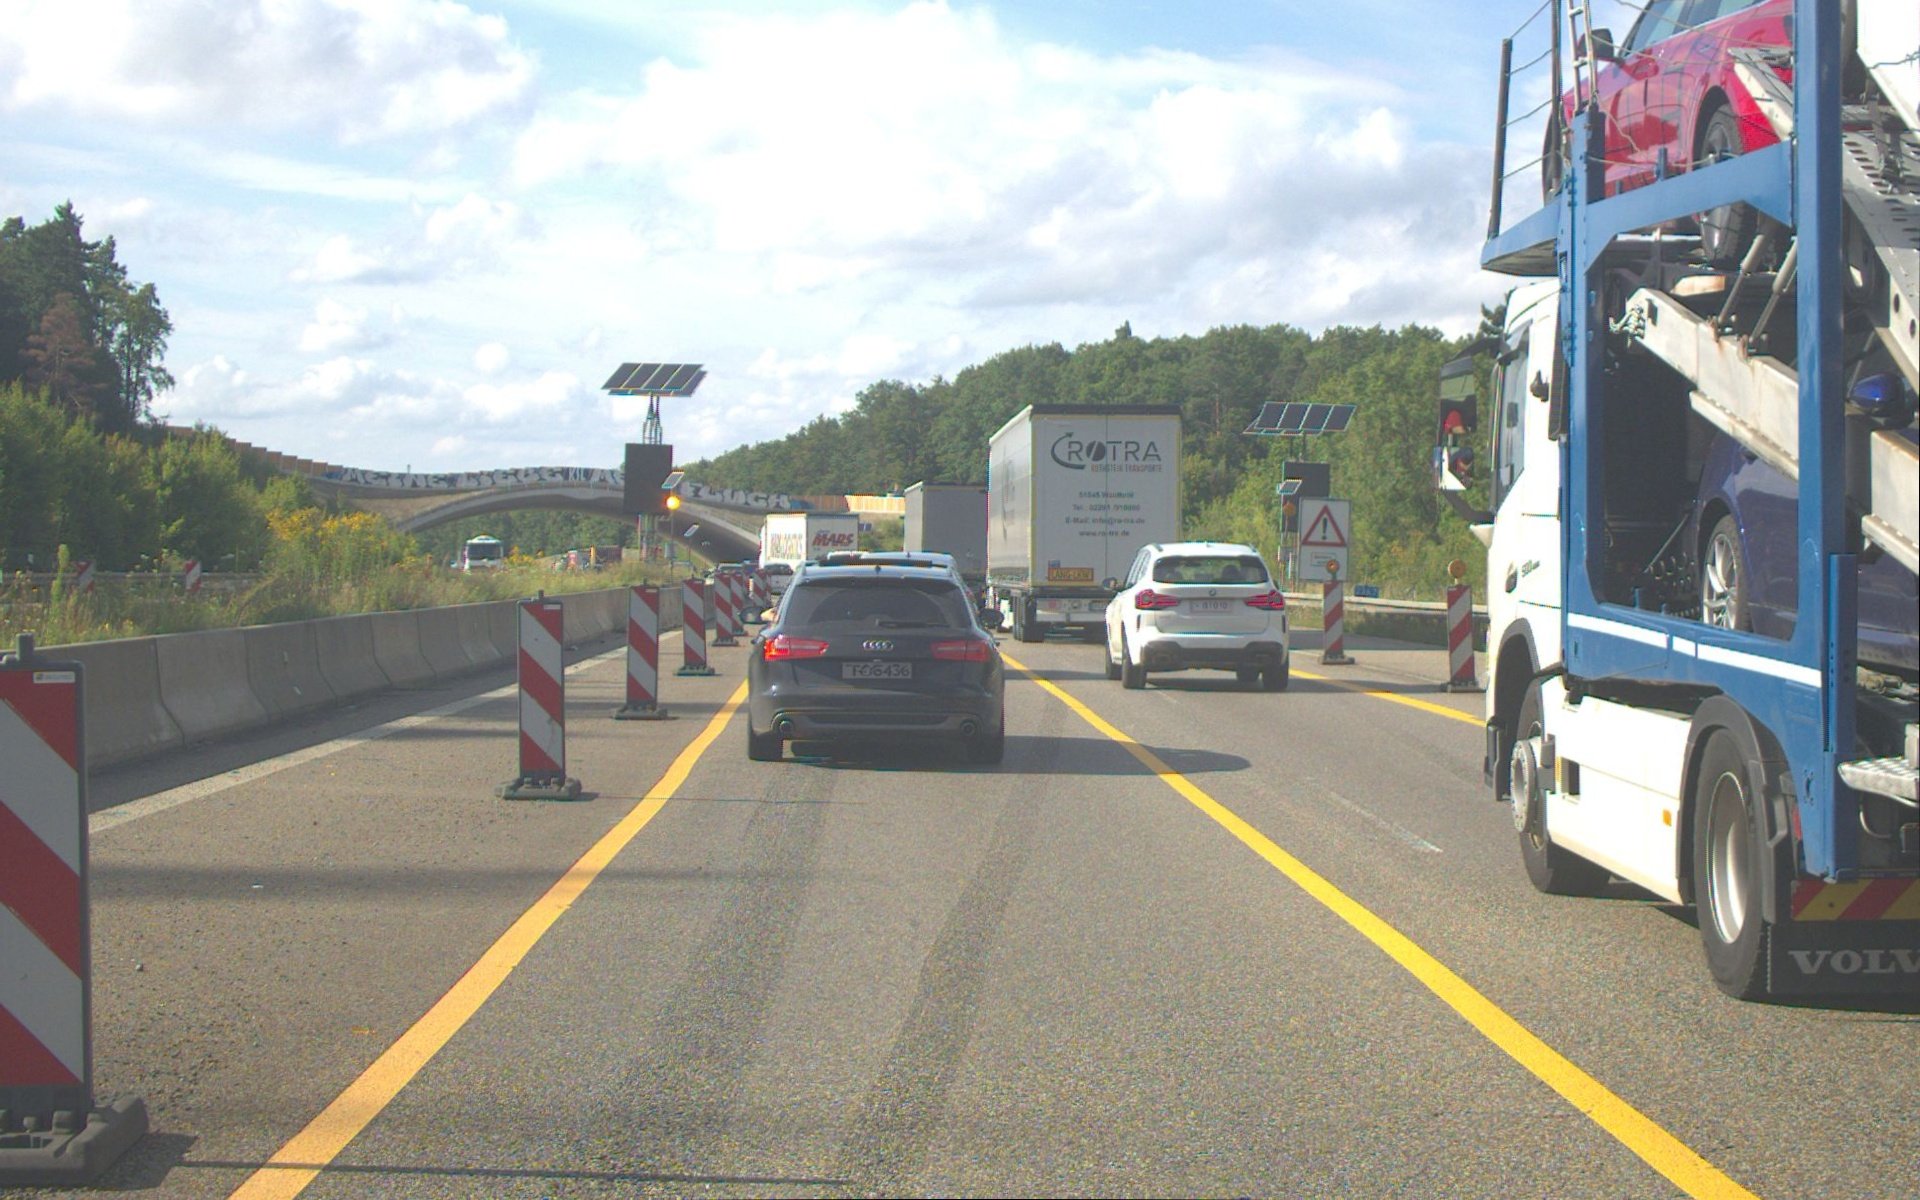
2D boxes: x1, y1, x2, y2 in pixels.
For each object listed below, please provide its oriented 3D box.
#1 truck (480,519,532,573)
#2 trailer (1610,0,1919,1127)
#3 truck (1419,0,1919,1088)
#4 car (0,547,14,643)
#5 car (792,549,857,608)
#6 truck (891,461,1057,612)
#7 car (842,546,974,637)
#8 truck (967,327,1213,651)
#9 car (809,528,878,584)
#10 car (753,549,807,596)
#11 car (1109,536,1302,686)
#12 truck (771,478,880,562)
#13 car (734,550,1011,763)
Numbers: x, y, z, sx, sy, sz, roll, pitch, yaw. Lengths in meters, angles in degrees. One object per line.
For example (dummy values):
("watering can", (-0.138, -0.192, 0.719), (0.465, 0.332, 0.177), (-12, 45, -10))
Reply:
("truck", (-29.787, -3.507, 225.751), (2.785, 3.478, 4.939), (1, 0, -1))
("trailer", (4.463, -0.656, 4.685), (3.726, 4.182, 16.228), (1, 0, -1))
("truck", (4.299, -0.821, 12.999), (3.761, 4.182, 7.951), (1, 0, -2))
("car", (-18.711, -0.091, 62.659), (1.778, 1.780, 4.365), (1, 0, -1))
("car", (-4.833, -0.768, 122.104), (1.993, 2.007, 4.001), (1, 0, -6))
("truck", (0.322, -2.007, 111.351), (4.318, 4.584, 11.127), (1, 0, -5))
("car", (-0.912, -0.162, 57.788), (1.890, 1.441, 4.001), (1, 0, -5))
("truck", (2.178, -1.917, 65.316), (3.677, 5.335, 16.202), (1, 0, -1))
("car", (-3.577, -1.341, 105.180), (1.890, 1.638, 4.018), (1, 0, -5))
("car", (-8.014, -1.231, 153.036), (1.993, 2.007, 4.001), (1, 0, -8))
("car", (2.808, 0.104, 40.086), (1.890, 1.638, 4.018), (1, 0, -1))
("truck", (-6.672, -3.845, 168.878), (3.653, 3.915, 11.070), (1, 0, -11))
("car", (-0.634, 0.376, 25.794), (1.890, 1.441, 4.000), (1, 0, -1))
